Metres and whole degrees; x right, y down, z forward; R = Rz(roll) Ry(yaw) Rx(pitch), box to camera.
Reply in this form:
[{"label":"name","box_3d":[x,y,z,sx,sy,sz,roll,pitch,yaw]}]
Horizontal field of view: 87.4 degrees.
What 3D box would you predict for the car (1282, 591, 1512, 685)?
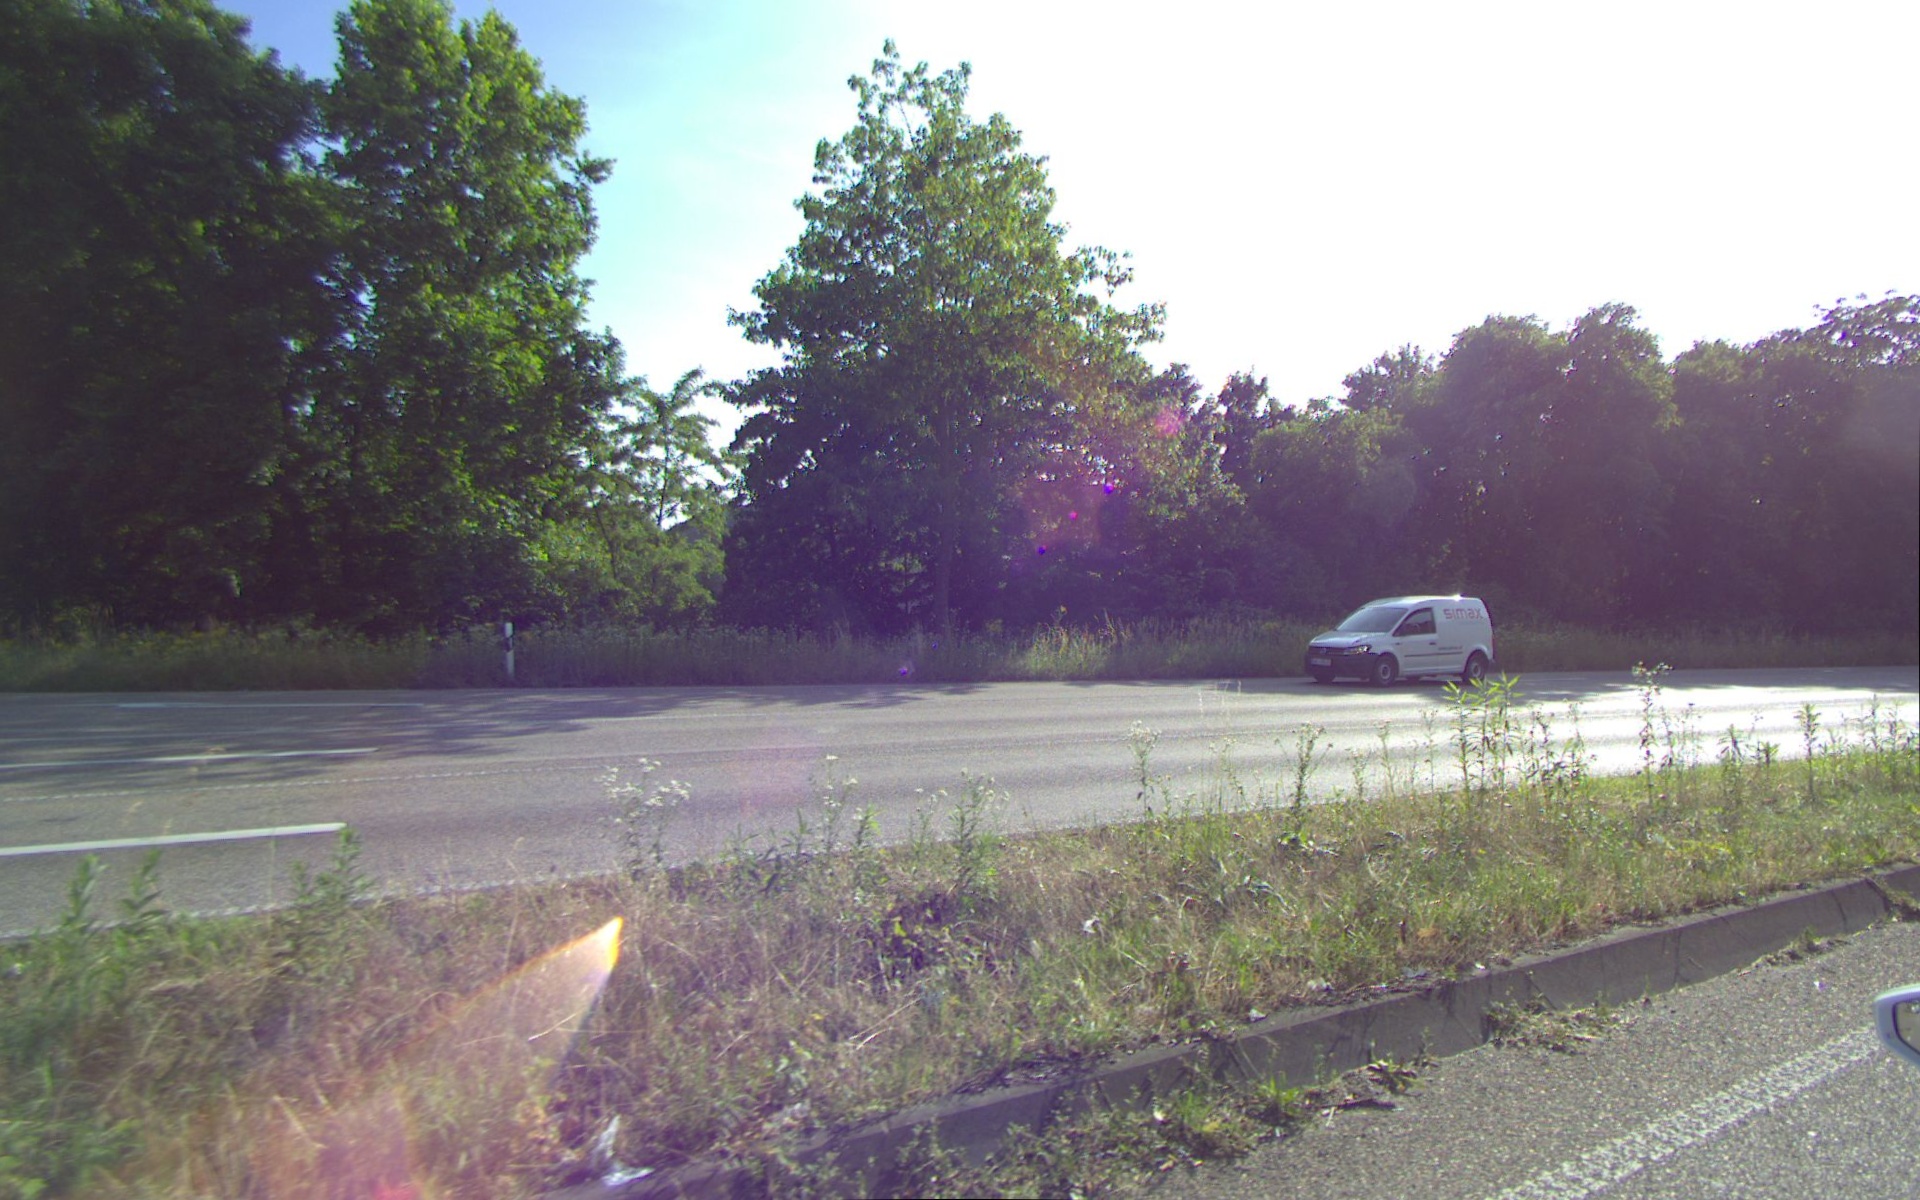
[{"label":"car","box_3d":[9.195,0.806,21.095,4.607,1.810,1.845,2,0,-25]}]
